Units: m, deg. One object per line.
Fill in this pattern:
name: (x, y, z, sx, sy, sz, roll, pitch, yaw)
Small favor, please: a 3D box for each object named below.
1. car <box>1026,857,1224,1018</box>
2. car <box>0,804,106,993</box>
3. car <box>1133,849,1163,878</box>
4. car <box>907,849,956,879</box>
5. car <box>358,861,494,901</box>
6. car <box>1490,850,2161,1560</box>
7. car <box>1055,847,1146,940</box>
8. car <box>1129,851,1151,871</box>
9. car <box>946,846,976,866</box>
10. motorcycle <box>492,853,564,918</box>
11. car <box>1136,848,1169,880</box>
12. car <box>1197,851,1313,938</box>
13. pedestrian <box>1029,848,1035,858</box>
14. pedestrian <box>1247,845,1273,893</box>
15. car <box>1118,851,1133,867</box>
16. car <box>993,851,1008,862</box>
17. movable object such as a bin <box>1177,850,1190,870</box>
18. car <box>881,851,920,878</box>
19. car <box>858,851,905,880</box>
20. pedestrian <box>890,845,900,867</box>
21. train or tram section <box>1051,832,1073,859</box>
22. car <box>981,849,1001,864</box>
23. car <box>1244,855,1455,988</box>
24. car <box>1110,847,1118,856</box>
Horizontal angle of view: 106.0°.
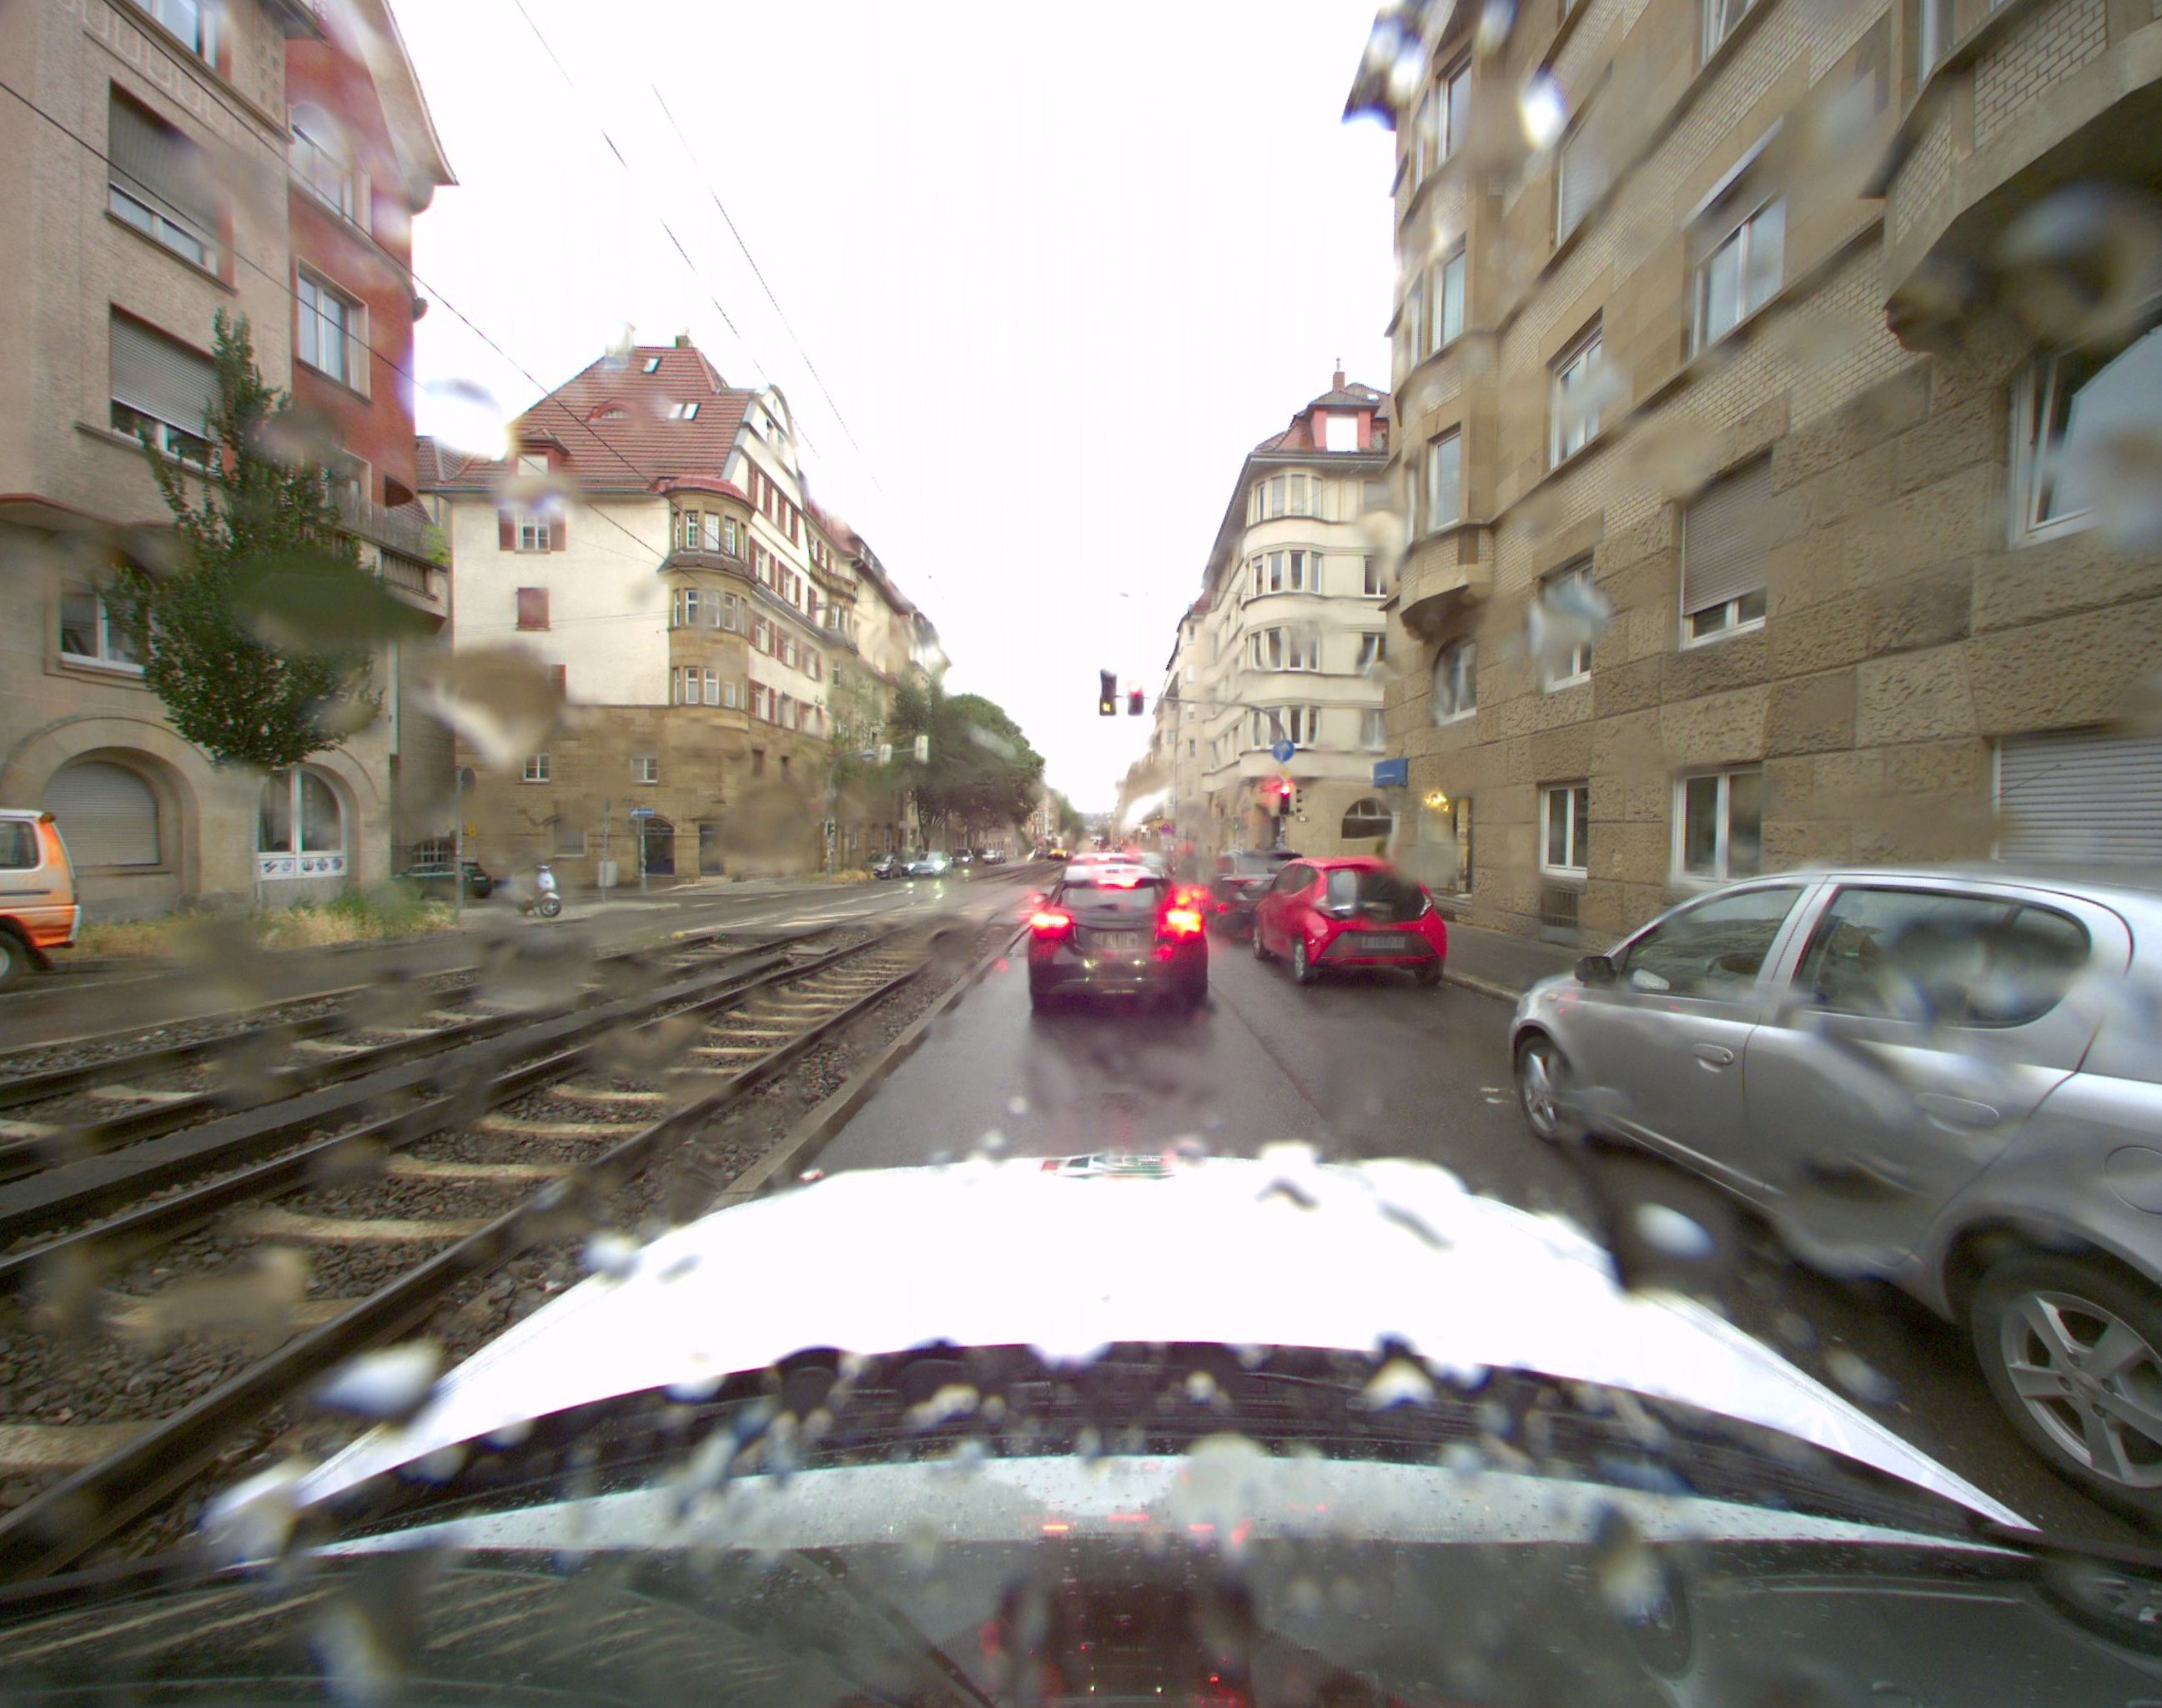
car: (0.464, 0.779, 9.565, 1.822, 1.458, 4.105, 0, 0, 2)
car: (-12.124, 0.456, 7.213, 1.725, 1.975, 4.341, 0, -1, 0)
car: (3.844, 0.530, 47.177, 1.539, 1.590, 3.549, 0, 0, 2)
car: (-8.268, 0.576, 45.433, 1.891, 1.588, 3.974, 0, -1, 2)
car: (-24.384, 0.991, 30.413, 3.633, 1.404, 1.699, 0, -1, -3)
car: (3.144, 0.740, 3.101, 1.608, 1.467, 3.314, -2, 0, 3)
car: (0.391, 0.698, 15.961, 1.559, 1.609, 3.815, 0, -1, 2)
car: (4.418, 0.535, 61.584, 1.539, 1.486, 3.549, 0, 0, 2)
car: (-10.592, 0.211, 72.142, 1.868, 1.737, 3.920, 0, -1, 2)
motorcycle: (-12.068, 0.674, 17.769, 1.577, 1.365, 0.628, -1, -1, 28)
car: (3.703, 0.486, 42.703, 1.539, 1.590, 3.549, 0, 0, 2)
car: (3.242, 0.689, 15.811, 1.539, 1.486, 3.831, 0, 0, 2)
pedestrian: (-10.503, -0.206, 173.771, 1.049, 1.957, 1.043, 1, 0, 3)
pedestrian: (6.595, 0.543, 30.028, 0.739, 1.748, 1.111, 0, -1, 2)
car: (4.030, 0.412, 73.675, 1.289, 1.442, 2.930, 0, 0, 2)
car: (-9.790, 0.295, 99.016, 1.443, 1.331, 3.271, 0, -1, 0)
movable object such as a bin: (7.477, 0.432, 59.557, 0.873, 1.389, 0.984, 0, -1, 5)
car: (-11.284, 0.639, 51.155, 1.713, 1.611, 3.914, 0, -1, -3)
car: (-11.253, 0.632, 46.120, 1.747, 1.552, 4.033, 0, -1, -2)
pedestrian: (-13.929, 0.147, 61.089, 0.630, 1.672, 0.701, 0, -1, -6)
train or tram section: (-2.788, -1.247, 122.435, 2.772, 3.861, 10.433, 0, -1, 2)
car: (-9.861, 0.306, 89.600, 1.583, 1.581, 3.920, 0, -1, 2)
car: (3.275, 0.734, 10.567, 1.637, 1.448, 3.298, 0, 0, -1)
car: (6.228, -0.423, 153.363, 1.539, 1.636, 3.686, 0, 0, 1)
